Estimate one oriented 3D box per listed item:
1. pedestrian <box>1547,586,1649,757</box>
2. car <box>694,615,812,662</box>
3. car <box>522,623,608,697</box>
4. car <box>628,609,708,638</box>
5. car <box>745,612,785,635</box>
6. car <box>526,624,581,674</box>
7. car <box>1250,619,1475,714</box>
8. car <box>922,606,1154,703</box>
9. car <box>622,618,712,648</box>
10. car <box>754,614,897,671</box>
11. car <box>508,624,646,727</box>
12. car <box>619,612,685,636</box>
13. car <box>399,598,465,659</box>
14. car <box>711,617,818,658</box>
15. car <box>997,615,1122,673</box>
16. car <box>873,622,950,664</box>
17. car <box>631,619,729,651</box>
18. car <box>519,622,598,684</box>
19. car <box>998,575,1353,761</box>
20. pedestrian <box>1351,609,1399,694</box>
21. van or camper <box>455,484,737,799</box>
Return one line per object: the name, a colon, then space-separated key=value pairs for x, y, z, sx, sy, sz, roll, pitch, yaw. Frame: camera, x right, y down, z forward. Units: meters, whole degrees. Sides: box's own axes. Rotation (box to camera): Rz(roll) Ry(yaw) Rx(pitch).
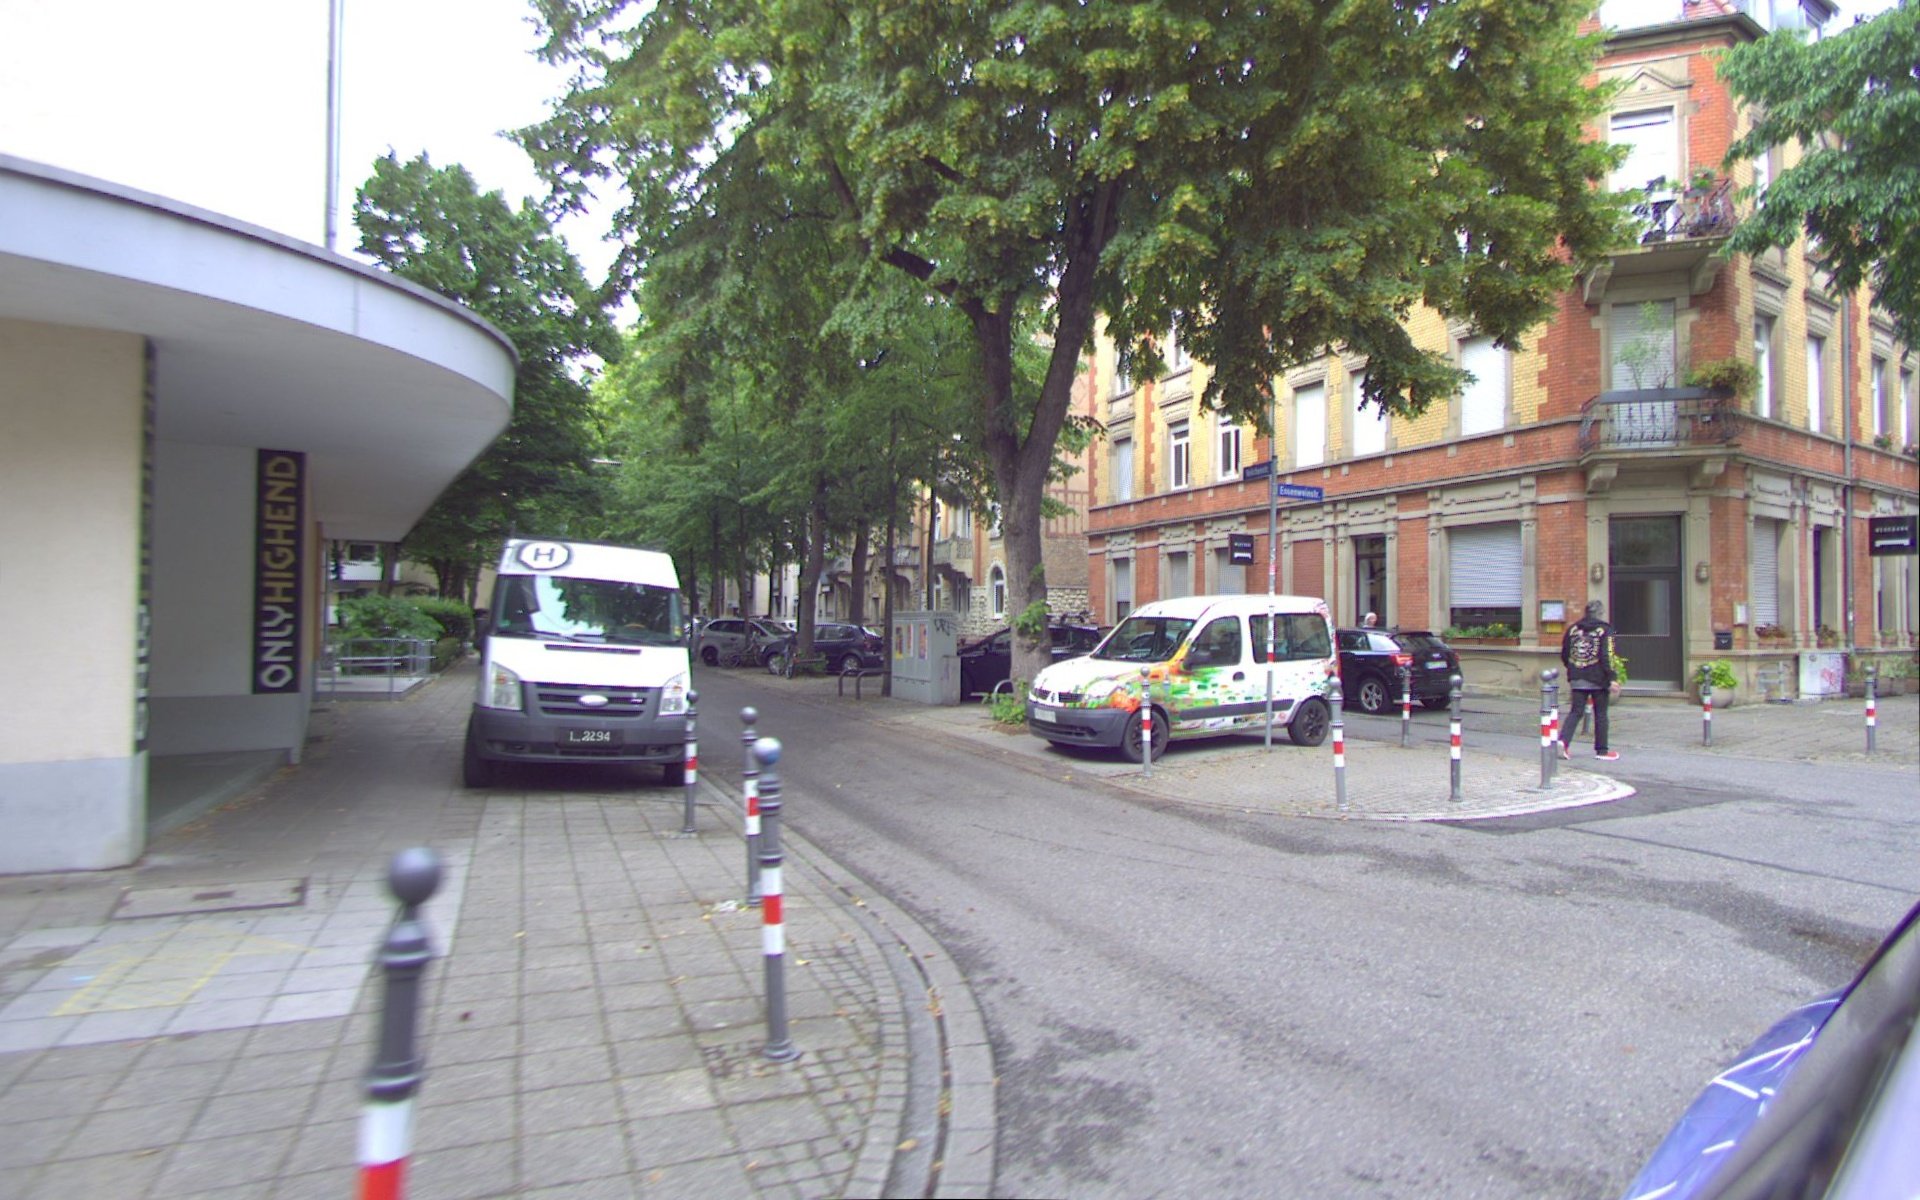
pedestrian: x=7.080 y=0.773 z=11.249 sx=0.499 sy=1.820 sz=0.782 roll=1 pitch=-2 yaw=-30
car: x=-6.956 y=1.327 z=34.046 sx=3.547 sy=1.461 sz=1.730 roll=-2 pitch=-4 yaw=22
car: x=-8.611 y=1.237 z=22.103 sx=1.597 sy=1.447 sz=3.714 roll=1 pitch=-1 yaw=-21
car: x=-16.143 y=1.308 z=56.071 sx=3.939 sy=1.550 sz=1.732 roll=0 pitch=-1 yaw=13
car: x=-13.519 y=1.598 z=69.905 sx=1.958 sy=1.515 sz=4.340 roll=1 pitch=-1 yaw=-21
car: x=-12.368 y=1.485 z=30.873 sx=1.478 sy=1.386 sz=3.526 roll=-1 pitch=-2 yaw=-21
car: x=7.434 y=1.151 z=19.070 sx=1.626 sy=1.560 sz=3.840 roll=-1 pitch=-1 yaw=-25
car: x=1.402 y=0.946 z=18.567 sx=3.919 sy=1.602 sz=1.667 roll=0 pitch=-2 yaw=30
car: x=-14.374 y=1.592 z=49.768 sx=3.939 sy=1.408 sz=1.732 roll=0 pitch=-1 yaw=13
car: x=-3.708 y=1.208 z=27.908 sx=3.547 sy=1.438 sz=1.730 roll=-2 pitch=-4 yaw=22
car: x=-6.300 y=1.134 z=16.776 sx=1.867 sy=1.447 sz=4.189 roll=1 pitch=-1 yaw=-20
car: x=-20.838 y=1.621 z=68.533 sx=3.939 sy=1.632 sz=1.732 roll=0 pitch=-1 yaw=13
car: x=-18.951 y=0.989 z=36.378 sx=1.959 sy=2.039 sz=4.005 roll=1 pitch=-1 yaw=-27
car: x=-7.468 y=1.388 z=38.560 sx=3.967 sy=1.483 sz=1.646 roll=0 pitch=-1 yaw=31
car: x=2.902 y=1.280 z=30.605 sx=1.958 sy=1.553 sz=4.340 roll=-2 pitch=-1 yaw=-21
car: x=-2.009 y=1.668 z=40.758 sx=1.806 sy=1.515 sz=4.281 roll=-2 pitch=-1 yaw=-21
car: x=-12.706 y=1.572 z=46.004 sx=3.939 sy=1.408 sz=1.732 roll=0 pitch=-1 yaw=13
car: x=-10.399 y=1.310 z=26.195 sx=1.739 sy=1.436 sz=4.007 roll=0 pitch=-1 yaw=-22
car: x=2.559 y=0.702 z=11.828 sx=3.921 sy=1.842 sz=1.777 roll=1 pitch=-1 yaw=-32
pedestrian: x=8.583 y=1.049 z=20.946 sx=0.551 sy=1.728 sz=0.750 roll=0 pitch=-1 yaw=-21
van or camper: x=-4.149 y=0.429 z=11.198 sx=2.091 sy=2.527 sz=5.799 roll=4 pitch=-2 yaw=-23
